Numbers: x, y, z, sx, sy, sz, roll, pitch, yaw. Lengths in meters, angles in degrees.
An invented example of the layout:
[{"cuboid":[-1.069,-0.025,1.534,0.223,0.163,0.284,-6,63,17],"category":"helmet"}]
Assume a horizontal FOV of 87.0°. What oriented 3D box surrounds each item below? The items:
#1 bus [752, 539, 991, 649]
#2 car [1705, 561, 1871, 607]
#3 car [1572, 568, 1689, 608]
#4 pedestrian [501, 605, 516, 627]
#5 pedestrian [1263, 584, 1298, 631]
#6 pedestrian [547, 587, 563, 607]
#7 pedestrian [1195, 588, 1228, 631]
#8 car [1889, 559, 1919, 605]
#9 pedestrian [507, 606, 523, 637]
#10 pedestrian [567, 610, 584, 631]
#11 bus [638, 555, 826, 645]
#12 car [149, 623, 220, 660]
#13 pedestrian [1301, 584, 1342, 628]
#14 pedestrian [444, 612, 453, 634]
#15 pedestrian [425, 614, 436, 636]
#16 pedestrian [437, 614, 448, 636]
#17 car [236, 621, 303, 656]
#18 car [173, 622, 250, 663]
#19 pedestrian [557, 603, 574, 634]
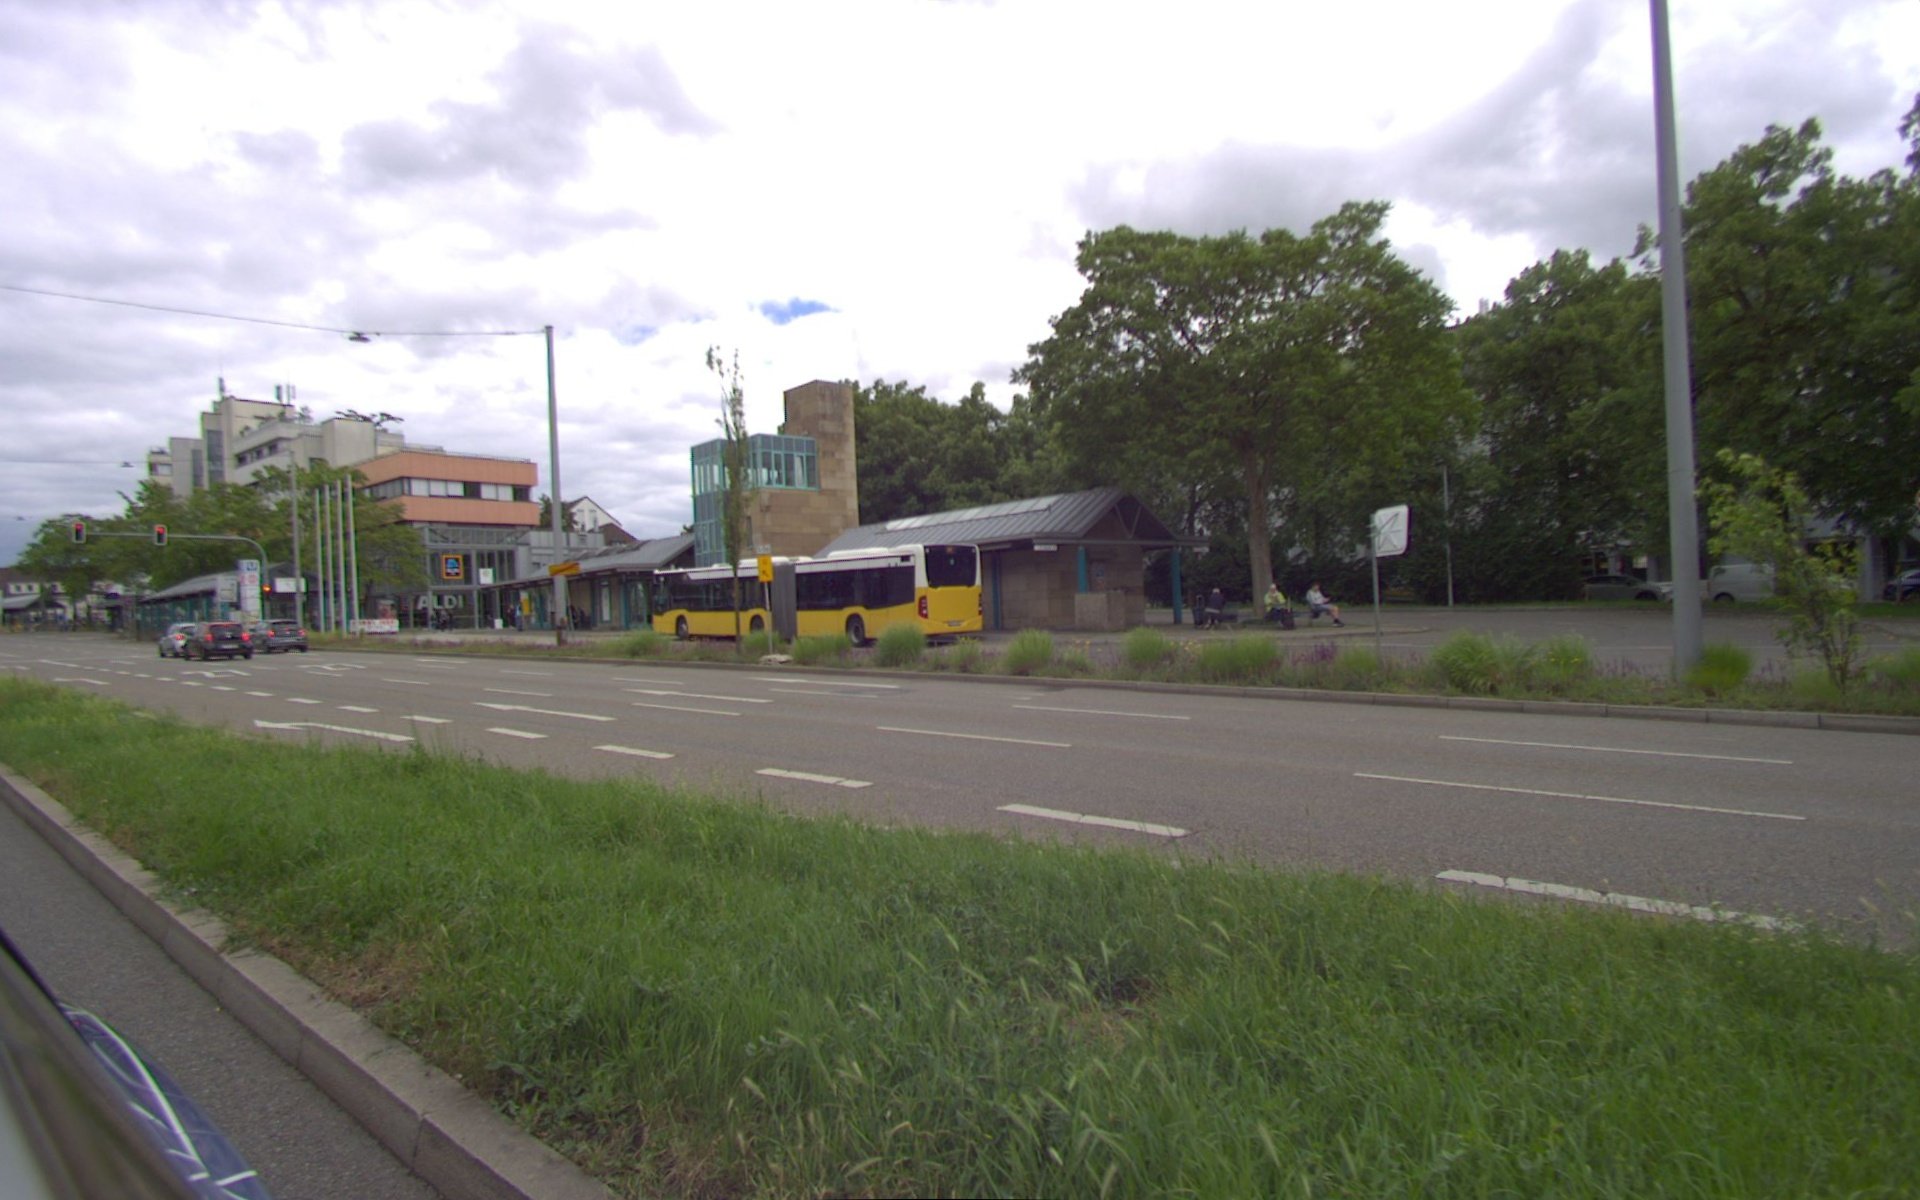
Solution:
[{"cuboid":[-3.233,-0.124,33.603,2.776,3.155,9.311,-4,1,-42],"category":"bus"},{"cuboid":[33.946,-0.631,41.641,1.967,1.736,4.926,-1,0,-37],"category":"car"},{"cuboid":[30.681,-0.540,46.409,1.967,1.696,4.009,-1,0,-37],"category":"car"},{"cuboid":[-30.872,1.126,69.229,0.583,1.472,0.993,-2,0,-43],"category":"pedestrian"},{"cuboid":[9.185,0.225,28.998,0.887,1.300,0.853,-2,0,16],"category":"pedestrian"},{"cuboid":[-22.954,-0.187,57.374,0.658,1.129,0.612,-2,0,44],"category":"pedestrian"},{"cuboid":[7.571,0.289,30.449,0.886,1.264,0.855,-2,0,11],"category":"pedestrian"},{"cuboid":[37.060,-0.721,37.012,1.967,1.696,4.236,-1,0,-37],"category":"car"},{"cuboid":[-24.519,1.190,55.763,0.658,1.662,0.612,-2,0,44],"category":"pedestrian"},{"cuboid":[-21.120,1.146,55.575,0.658,1.129,0.612,-2,0,44],"category":"pedestrian"},{"cuboid":[-9.310,0.074,40.307,2.743,3.155,9.447,-4,1,-43],"category":"bus"},{"cuboid":[-34.066,1.832,44.436,3.788,1.476,1.727,-3,-1,41],"category":"car"},{"cuboid":[10.646,0.173,29.794,0.857,1.264,0.883,-2,-1,40],"category":"pedestrian"},{"cuboid":[-36.728,1.669,72.682,0.379,1.559,0.484,-2,0,7],"category":"pedestrian"},{"cuboid":[-37.333,1.769,71.348,0.522,1.559,0.755,-2,0,-34],"category":"pedestrian"},{"cuboid":[-36.715,1.768,71.791,0.382,1.559,0.480,-2,0,32],"category":"pedestrian"},{"cuboid":[-31.861,1.738,46.679,4.002,1.519,1.795,-1,0,44],"category":"car"},{"cuboid":[-29.731,1.658,40.173,3.766,1.519,1.642,-1,0,40],"category":"car"},{"cuboid":[-21.925,1.030,56.267,0.658,1.662,0.612,-2,0,44],"category":"pedestrian"}]
